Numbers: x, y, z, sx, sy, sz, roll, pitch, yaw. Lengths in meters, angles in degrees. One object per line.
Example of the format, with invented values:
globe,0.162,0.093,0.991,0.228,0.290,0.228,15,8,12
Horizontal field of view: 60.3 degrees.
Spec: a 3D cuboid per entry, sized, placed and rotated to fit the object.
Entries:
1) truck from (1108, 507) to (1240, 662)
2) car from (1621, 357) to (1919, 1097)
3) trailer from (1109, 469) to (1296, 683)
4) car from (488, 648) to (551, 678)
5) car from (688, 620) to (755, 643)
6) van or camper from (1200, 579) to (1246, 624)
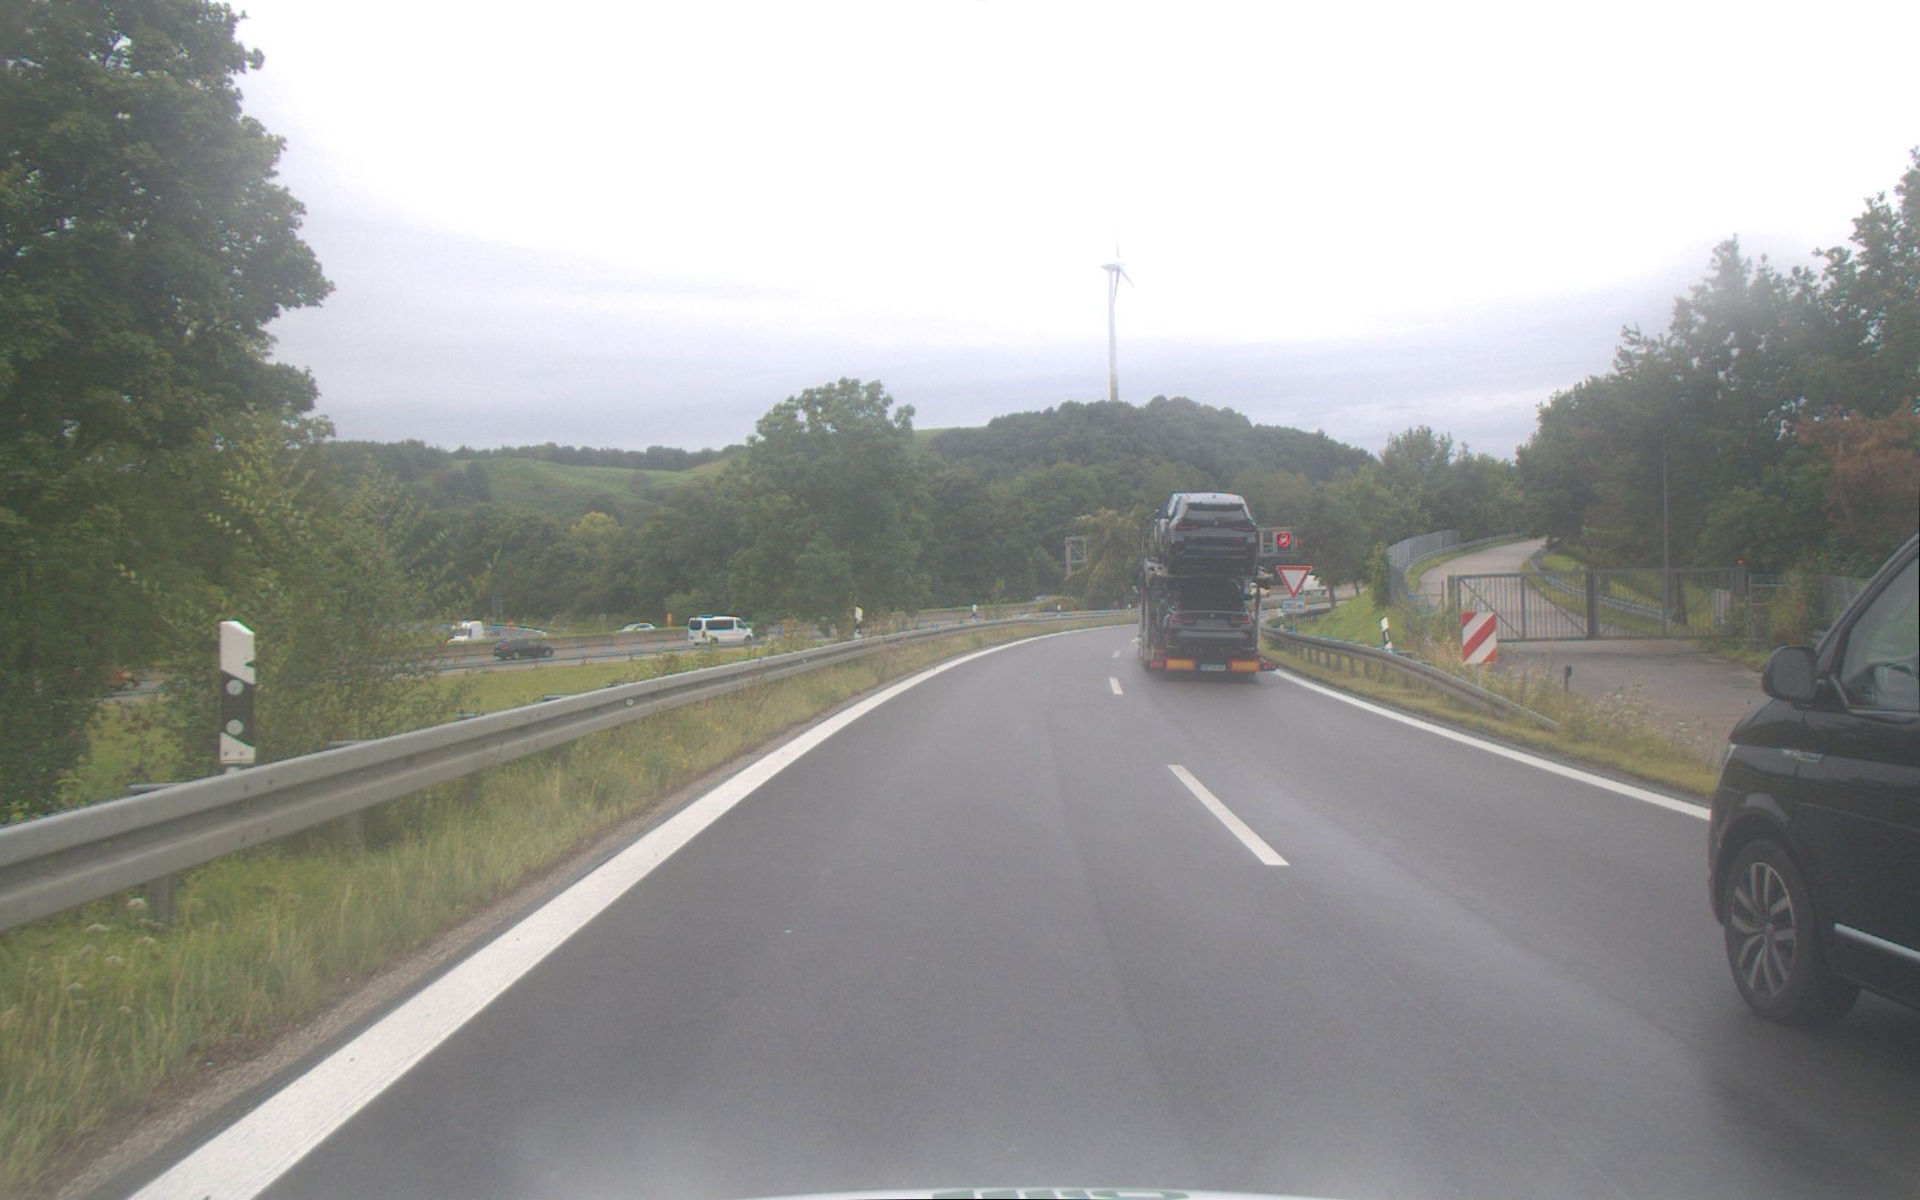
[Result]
truck,6.199,-0.398,49.611,3.323,4.069,10.852,1,0,5
car,4.033,0.415,4.491,2.067,2.304,5.896,1,0,0
trailer,5.244,-0.442,38.133,3.376,4.069,12.033,1,0,5
car,-32.833,4.688,123.290,1.964,1.746,3.978,-7,-1,42
car,-19.210,2.544,133.406,1.965,1.747,5.290,-1,-1,43
van or camper,13.996,0.097,87.812,2.048,2.270,4.434,1,0,14
